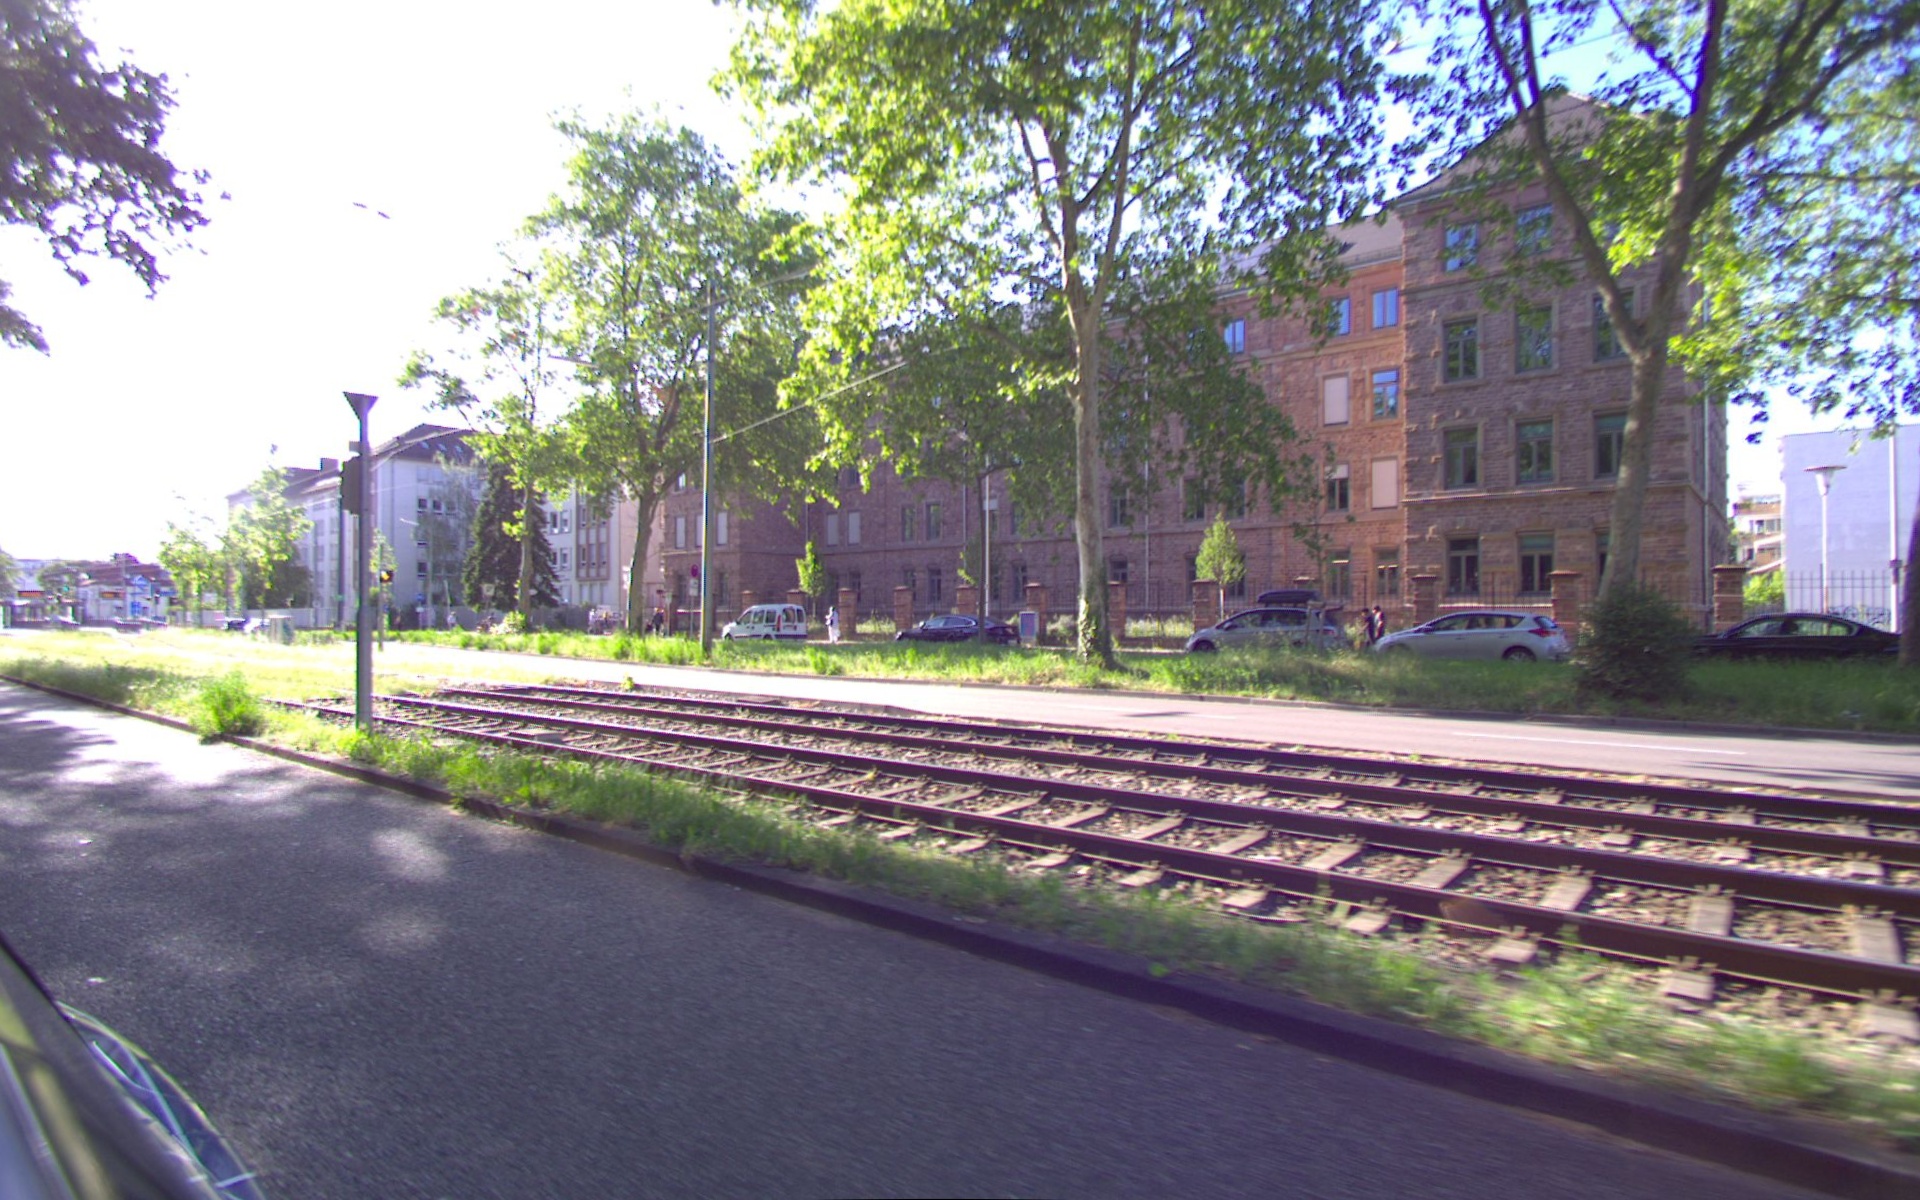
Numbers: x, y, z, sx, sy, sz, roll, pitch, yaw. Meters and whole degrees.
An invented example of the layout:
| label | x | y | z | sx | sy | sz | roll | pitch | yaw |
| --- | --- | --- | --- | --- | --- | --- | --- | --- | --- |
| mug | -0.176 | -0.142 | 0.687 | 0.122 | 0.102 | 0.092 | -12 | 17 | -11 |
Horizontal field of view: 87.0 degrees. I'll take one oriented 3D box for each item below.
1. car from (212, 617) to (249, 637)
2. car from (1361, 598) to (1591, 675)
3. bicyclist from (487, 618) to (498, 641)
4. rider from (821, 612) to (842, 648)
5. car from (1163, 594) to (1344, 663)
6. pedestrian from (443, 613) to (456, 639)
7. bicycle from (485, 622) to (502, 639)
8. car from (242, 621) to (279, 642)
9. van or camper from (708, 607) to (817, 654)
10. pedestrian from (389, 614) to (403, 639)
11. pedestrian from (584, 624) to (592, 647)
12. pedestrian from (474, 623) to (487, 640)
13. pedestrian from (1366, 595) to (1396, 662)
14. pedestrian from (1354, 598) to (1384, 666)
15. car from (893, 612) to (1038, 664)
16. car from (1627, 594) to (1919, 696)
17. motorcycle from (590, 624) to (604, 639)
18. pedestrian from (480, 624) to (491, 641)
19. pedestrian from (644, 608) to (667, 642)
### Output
| label | x | y | z | sx | sy | sz | roll | pitch | yaw |
| --- | --- | --- | --- | --- | --- | --- | --- | --- | --- |
| car | -64.601 | 2.401 | 89.546 | 4.150 | 1.720 | 1.971 | -1 | -1 | 44 |
| car | 12.051 | 0.836 | 23.821 | 4.422 | 1.627 | 1.971 | -2 | -2 | 45 |
| bicyclist | -30.486 | 1.902 | 66.005 | 0.501 | 1.510 | 0.450 | -1 | -2 | 31 |
| rider | -6.113 | 1.415 | 48.058 | 0.686 | 1.657 | 0.721 | -1 | -2 | 41 |
| car | 7.848 | 0.759 | 27.357 | 4.422 | 1.732 | 1.748 | -2 | -2 | 45 |
| pedestrian | -37.912 | 1.928 | 75.216 | 0.572 | 1.851 | 0.686 | -1 | -1 | 40 |
| bicycle | -30.398 | 2.001 | 65.954 | 1.172 | 1.076 | 0.458 | -1 | -2 | 31 |
| car | -56.502 | 2.493 | 81.719 | 1.745 | 1.634 | 4.479 | 1 | -1 | -43 |
| van or camper | -8.019 | 1.210 | 40.917 | 4.427 | 1.801 | 1.974 | -1 | -2 | 39 |
| pedestrian | -45.350 | 2.106 | 81.368 | 0.859 | 2.029 | 0.656 | -1 | -1 | 40 |
| pedestrian | -27.776 | 2.646 | 75.566 | 0.371 | 1.708 | 0.449 | 0 | -1 | -44 |
| pedestrian | -31.654 | 2.102 | 66.810 | 0.478 | 1.108 | 0.580 | -2 | -2 | 39 |
| pedestrian | 12.988 | 0.878 | 31.209 | 0.626 | 2.029 | 0.707 | -1 | -2 | 41 |
| pedestrian | 12.400 | 0.960 | 30.671 | 0.626 | 2.029 | 0.707 | -1 | -2 | 41 |
| car | 0.126 | 1.269 | 34.230 | 4.824 | 1.662 | 1.973 | -2 | -2 | 41 |
| car | 16.210 | 0.853 | 20.106 | 4.734 | 1.822 | 2.088 | -2 | -2 | 40 |
| motorcycle | -23.689 | 2.045 | 65.984 | 1.043 | 0.953 | 0.331 | -1 | -1 | 37 |
| pedestrian | -31.152 | 2.102 | 66.484 | 0.586 | 1.108 | 0.439 | -1 | -2 | 36 |
| pedestrian | -17.340 | 1.444 | 57.666 | 0.941 | 1.914 | 0.891 | -2 | -2 | 41 |
